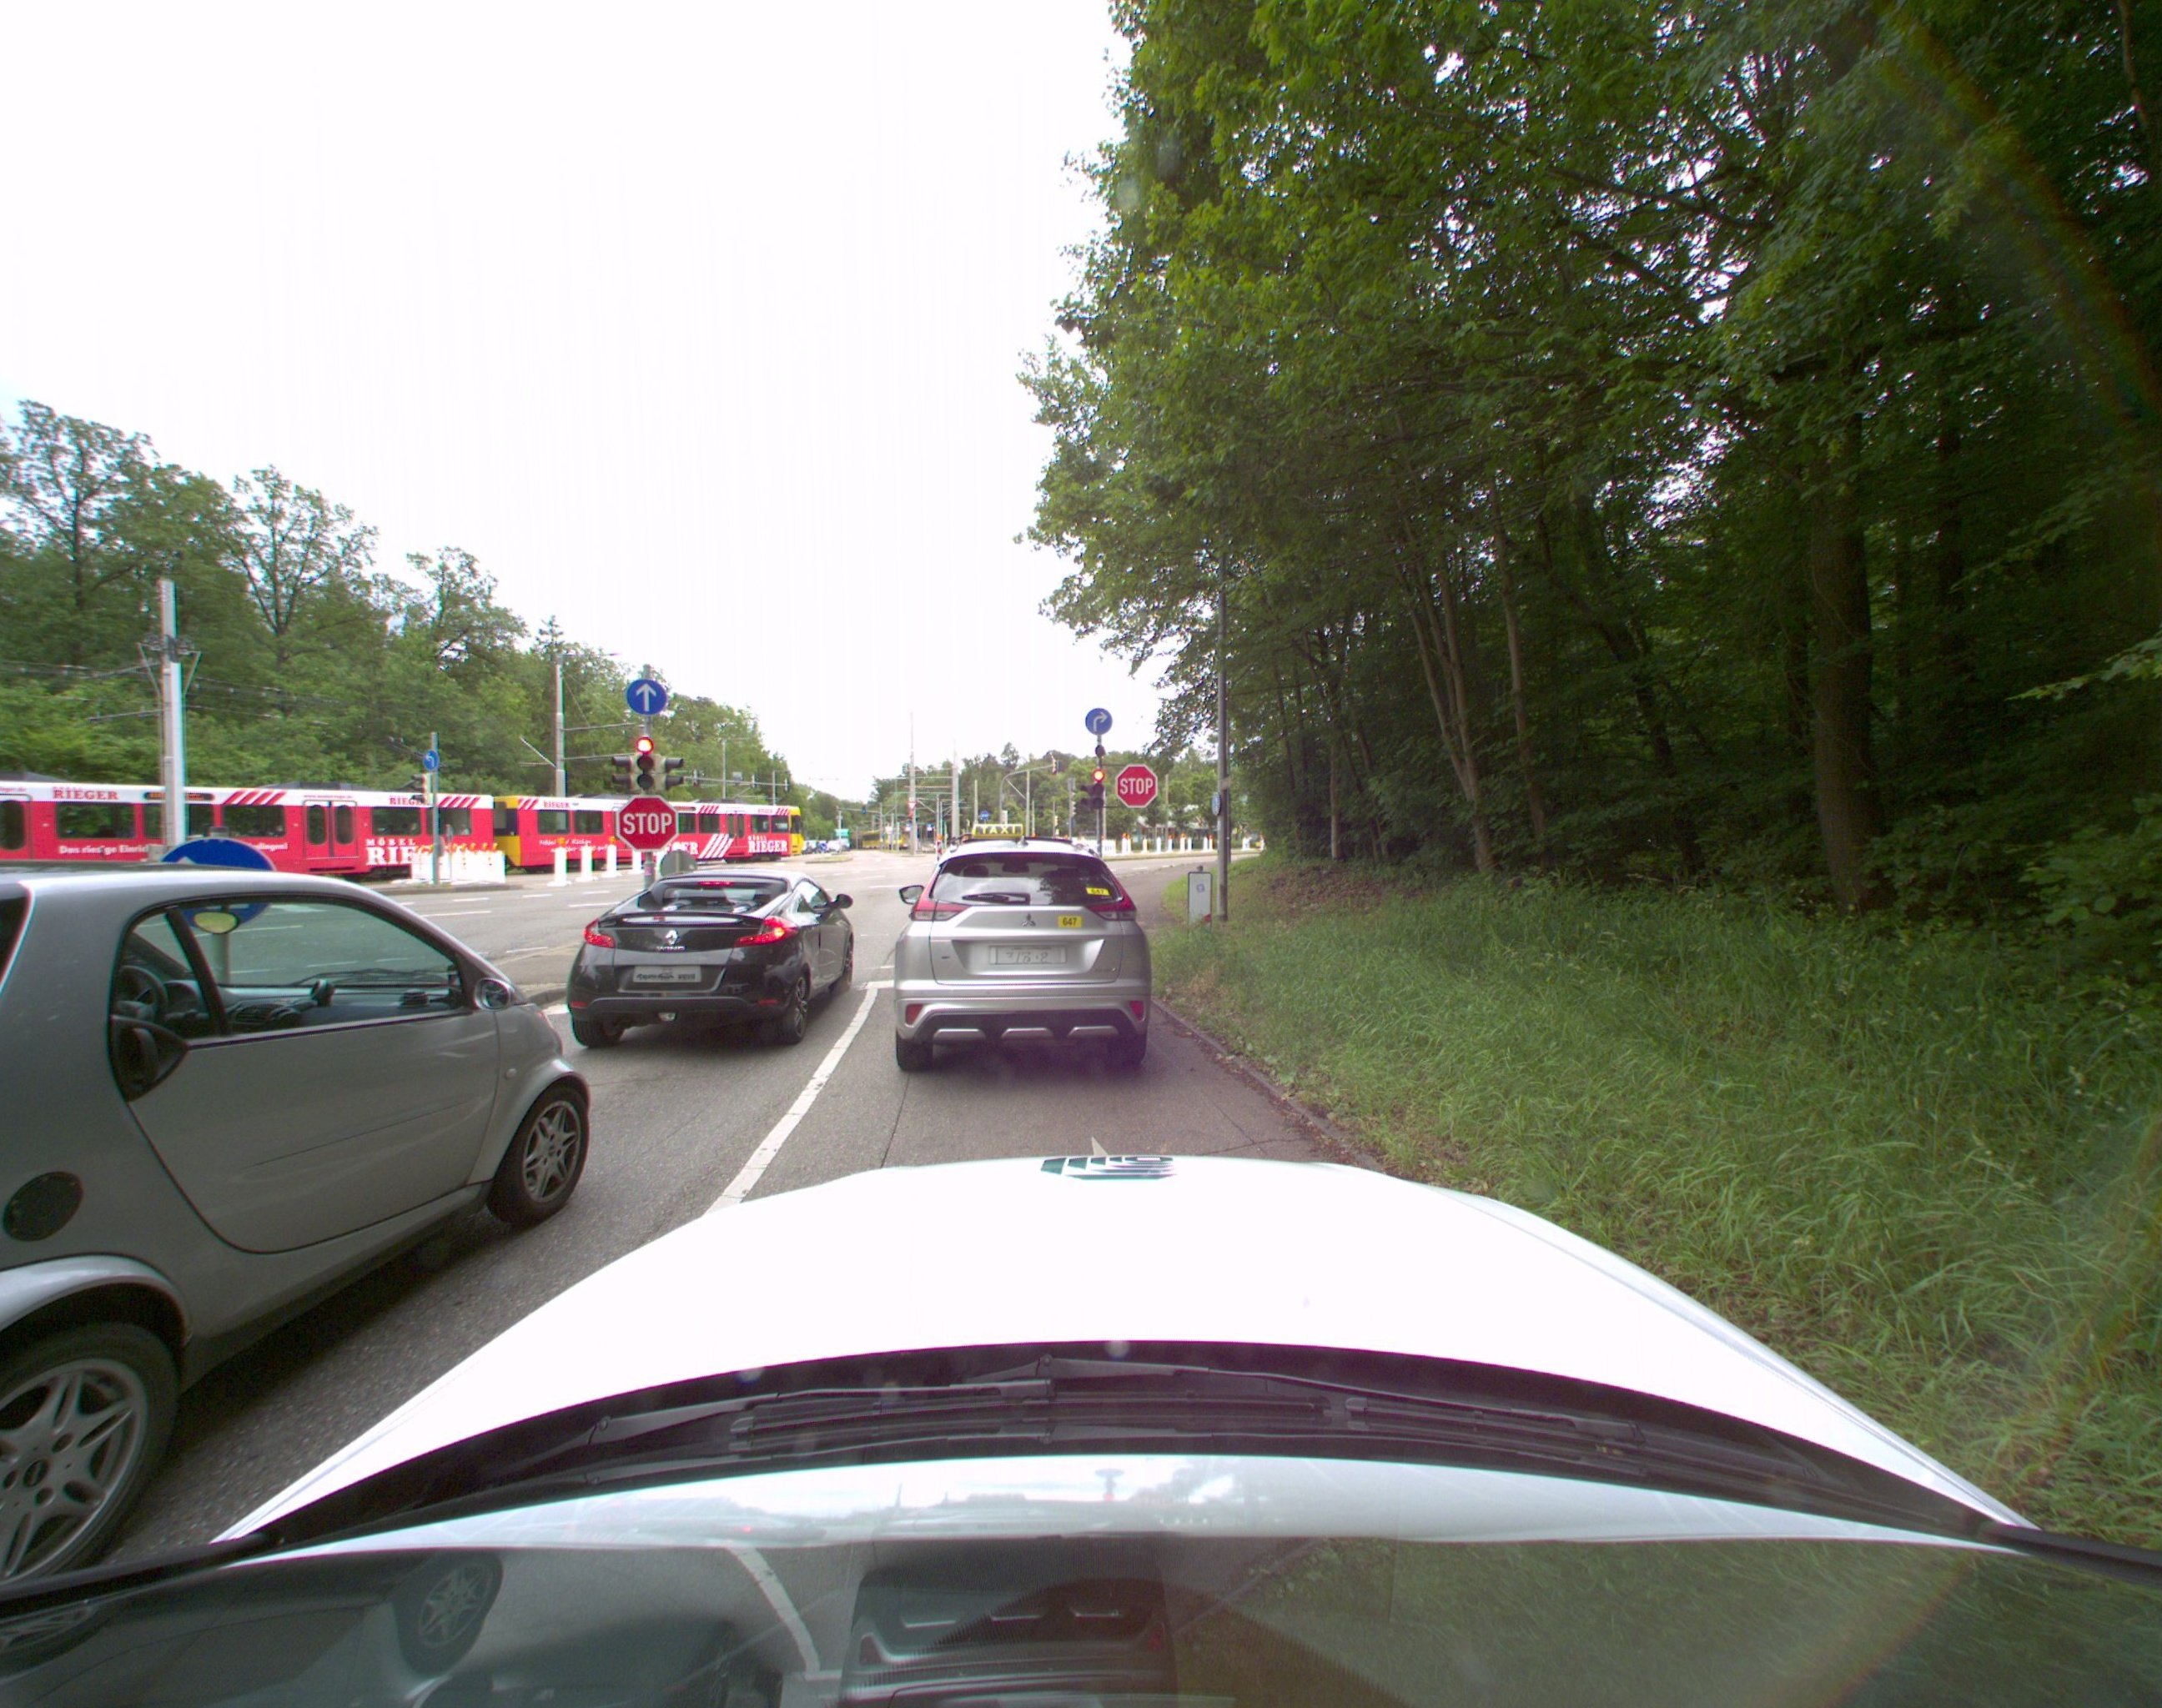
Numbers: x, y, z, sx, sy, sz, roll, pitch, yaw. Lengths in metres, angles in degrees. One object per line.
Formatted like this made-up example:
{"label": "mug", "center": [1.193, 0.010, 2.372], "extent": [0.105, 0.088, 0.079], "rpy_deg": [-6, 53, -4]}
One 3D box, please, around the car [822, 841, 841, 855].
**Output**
{"label": "car", "center": [-31.345, -0.789, 102.309], "extent": [1.964, 1.607, 4.291], "rpy_deg": [-1, 1, -13]}

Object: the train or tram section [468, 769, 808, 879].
{"label": "train or tram section", "center": [-22.078, -1.212, 43.733], "extent": [2.922, 4.650, 18.640], "rpy_deg": [-1, -1, 21]}

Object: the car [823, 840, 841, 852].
{"label": "car", "center": [-32.874, -1.135, 107.714], "extent": [1.964, 1.541, 4.376], "rpy_deg": [-1, 1, -13]}

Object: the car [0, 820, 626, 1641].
{"label": "car", "center": [-2.911, 0.728, 2.624], "extent": [1.455, 1.586, 2.724], "rpy_deg": [-1, 1, -4]}

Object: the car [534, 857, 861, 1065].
{"label": "car", "center": [-3.190, 0.756, 7.569], "extent": [1.773, 1.361, 3.466], "rpy_deg": [-1, 1, -9]}

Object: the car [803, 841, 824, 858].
{"label": "car", "center": [-31.308, -0.561, 95.328], "extent": [1.964, 1.844, 4.669], "rpy_deg": [-1, 1, -13]}

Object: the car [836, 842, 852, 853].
{"label": "car", "center": [-35.219, -0.988, 121.100], "extent": [1.964, 1.540, 4.291], "rpy_deg": [-1, 1, -13]}

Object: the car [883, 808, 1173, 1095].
{"label": "car", "center": [-0.519, 0.581, 6.942], "extent": [1.772, 1.748, 3.772], "rpy_deg": [1, 1, -7]}

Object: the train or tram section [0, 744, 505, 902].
{"label": "train or tram section", "center": [-29.911, -0.840, 26.453], "extent": [2.928, 4.418, 18.844], "rpy_deg": [-1, -1, 29]}
